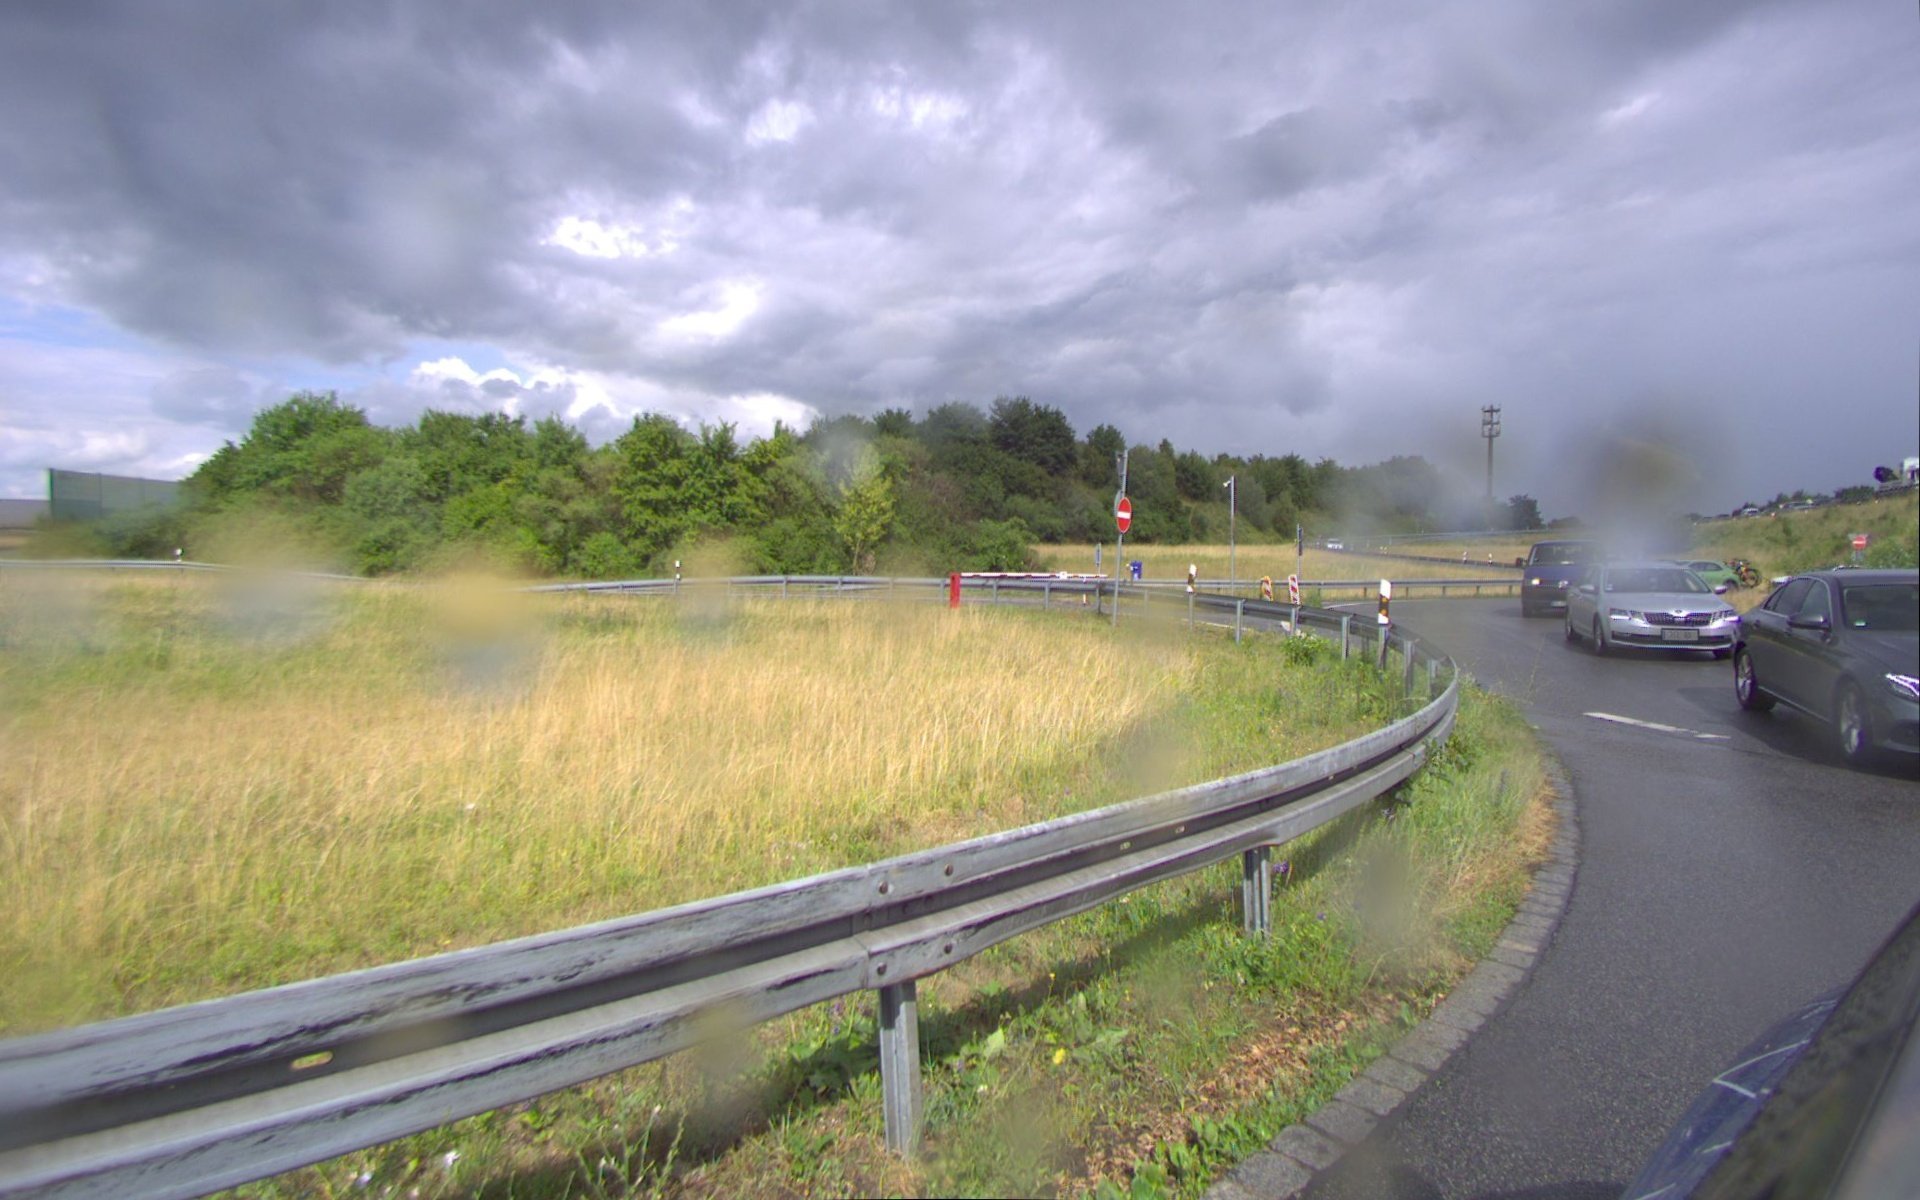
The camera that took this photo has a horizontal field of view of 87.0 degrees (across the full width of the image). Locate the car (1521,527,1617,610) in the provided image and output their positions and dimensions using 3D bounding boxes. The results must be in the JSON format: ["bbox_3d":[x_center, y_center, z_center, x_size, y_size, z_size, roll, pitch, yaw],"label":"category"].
[{"bbox_3d":[15.997,-0.925,26.427,1.881,1.938,5.617,1,4,34],"label":"car"}]

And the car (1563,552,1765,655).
[{"bbox_3d":[11.120,-0.057,16.332,1.778,1.415,4.317,1,3,23],"label":"car"}]

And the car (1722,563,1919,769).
[{"bbox_3d":[8.247,0.392,8.657,1.752,1.408,4.555,1,2,24],"label":"car"}]

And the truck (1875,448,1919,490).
[{"bbox_3d":[86.066,-11.762,90.602,3.124,3.233,9.216,-1,3,22],"label":"truck"}]

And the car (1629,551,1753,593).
[{"bbox_3d":[27.573,-1.064,38.188,3.846,1.555,1.576,0,2,-12],"label":"car"}]

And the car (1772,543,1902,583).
[{"bbox_3d":[34.824,-1.500,40.316,3.828,1.492,1.596,2,3,39],"label":"car"}]

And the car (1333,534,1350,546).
[{"bbox_3d":[44.339,-6.943,117.607,1.692,1.305,3.746,1,3,23],"label":"car"}]

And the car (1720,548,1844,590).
[{"bbox_3d":[31.628,-1.203,38.967,3.846,1.555,1.576,0,2,-12],"label":"car"}]
